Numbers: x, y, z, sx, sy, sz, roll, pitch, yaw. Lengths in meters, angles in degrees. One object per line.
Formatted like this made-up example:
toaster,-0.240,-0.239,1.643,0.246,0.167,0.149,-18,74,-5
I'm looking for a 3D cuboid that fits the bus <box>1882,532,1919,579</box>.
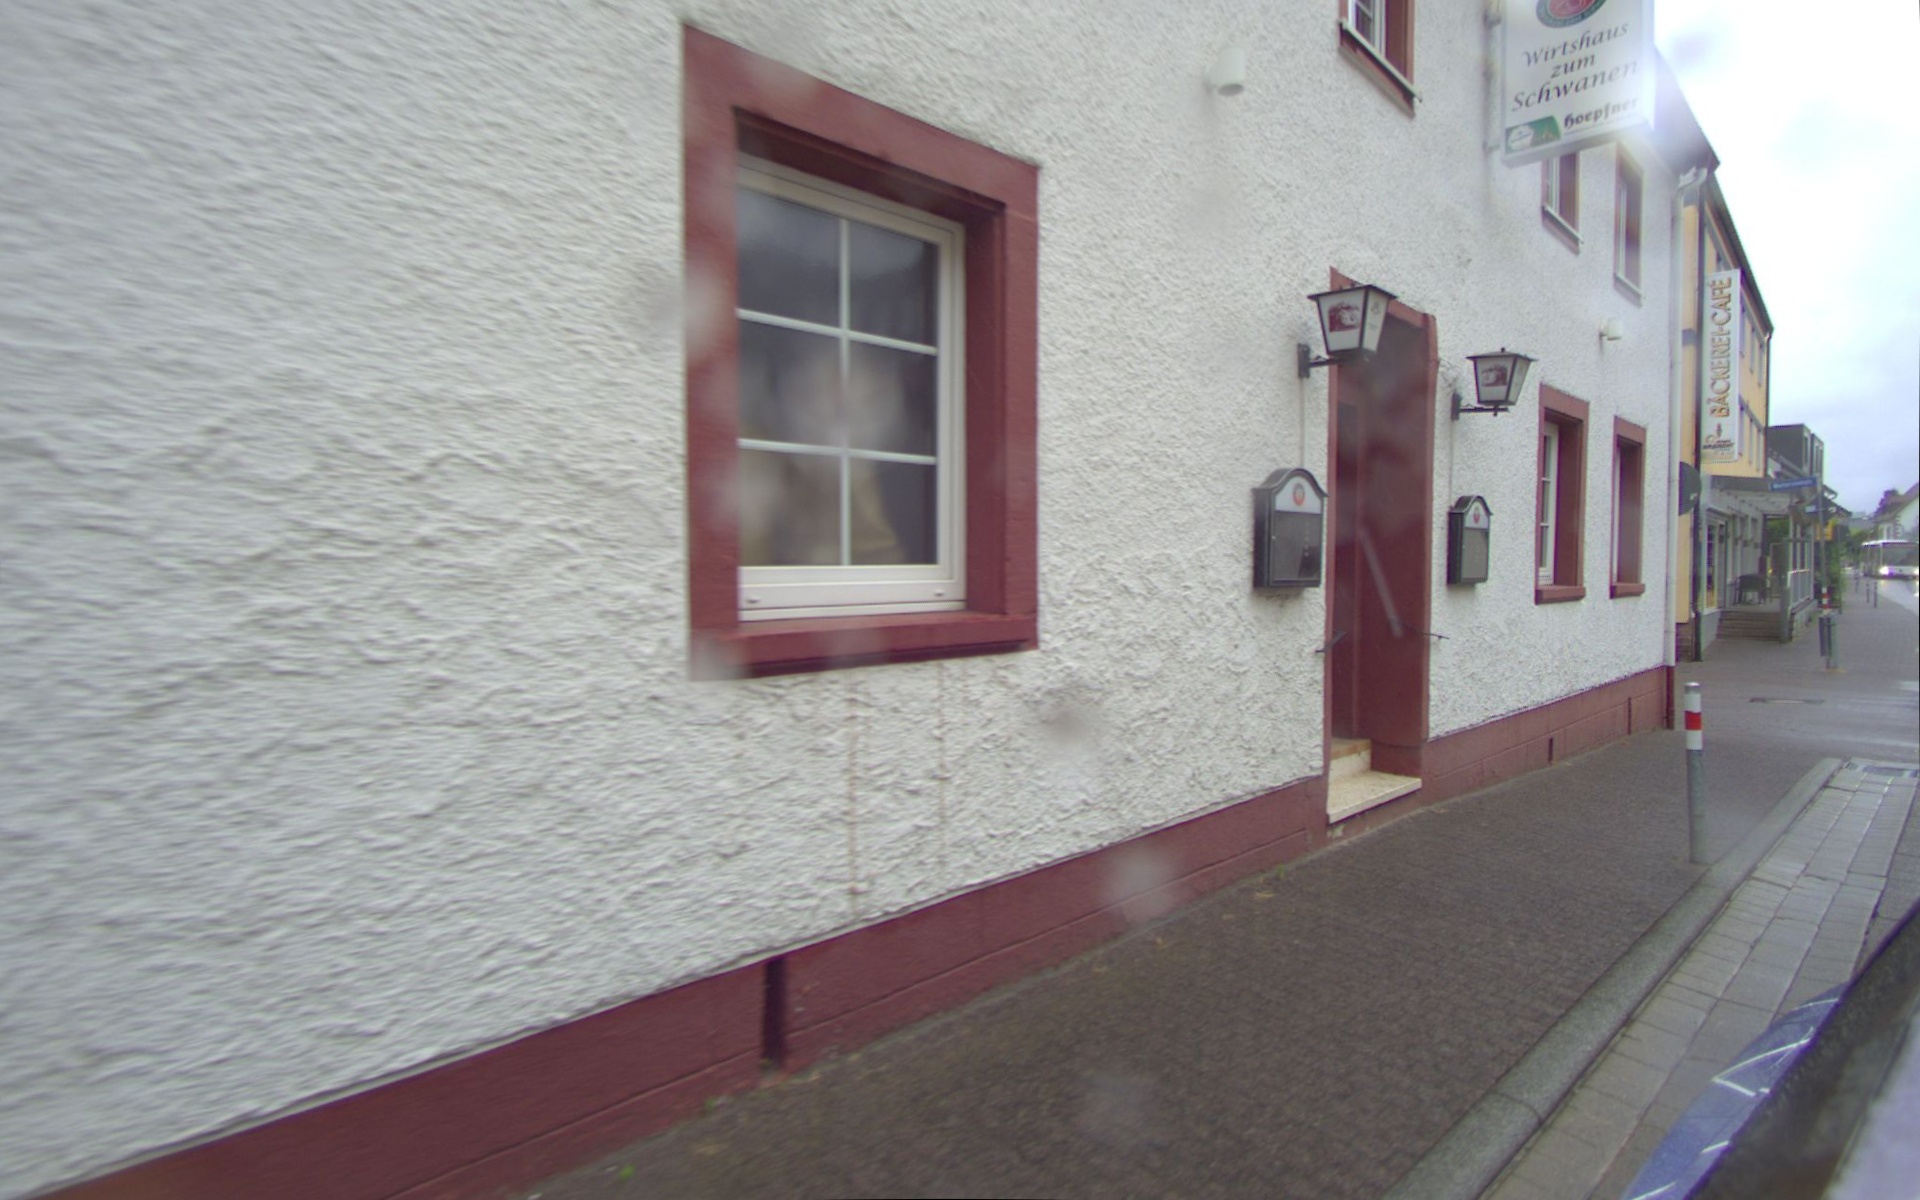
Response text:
bus,77.074,-3.639,81.999,2.881,3.654,11.813,1,3,39
